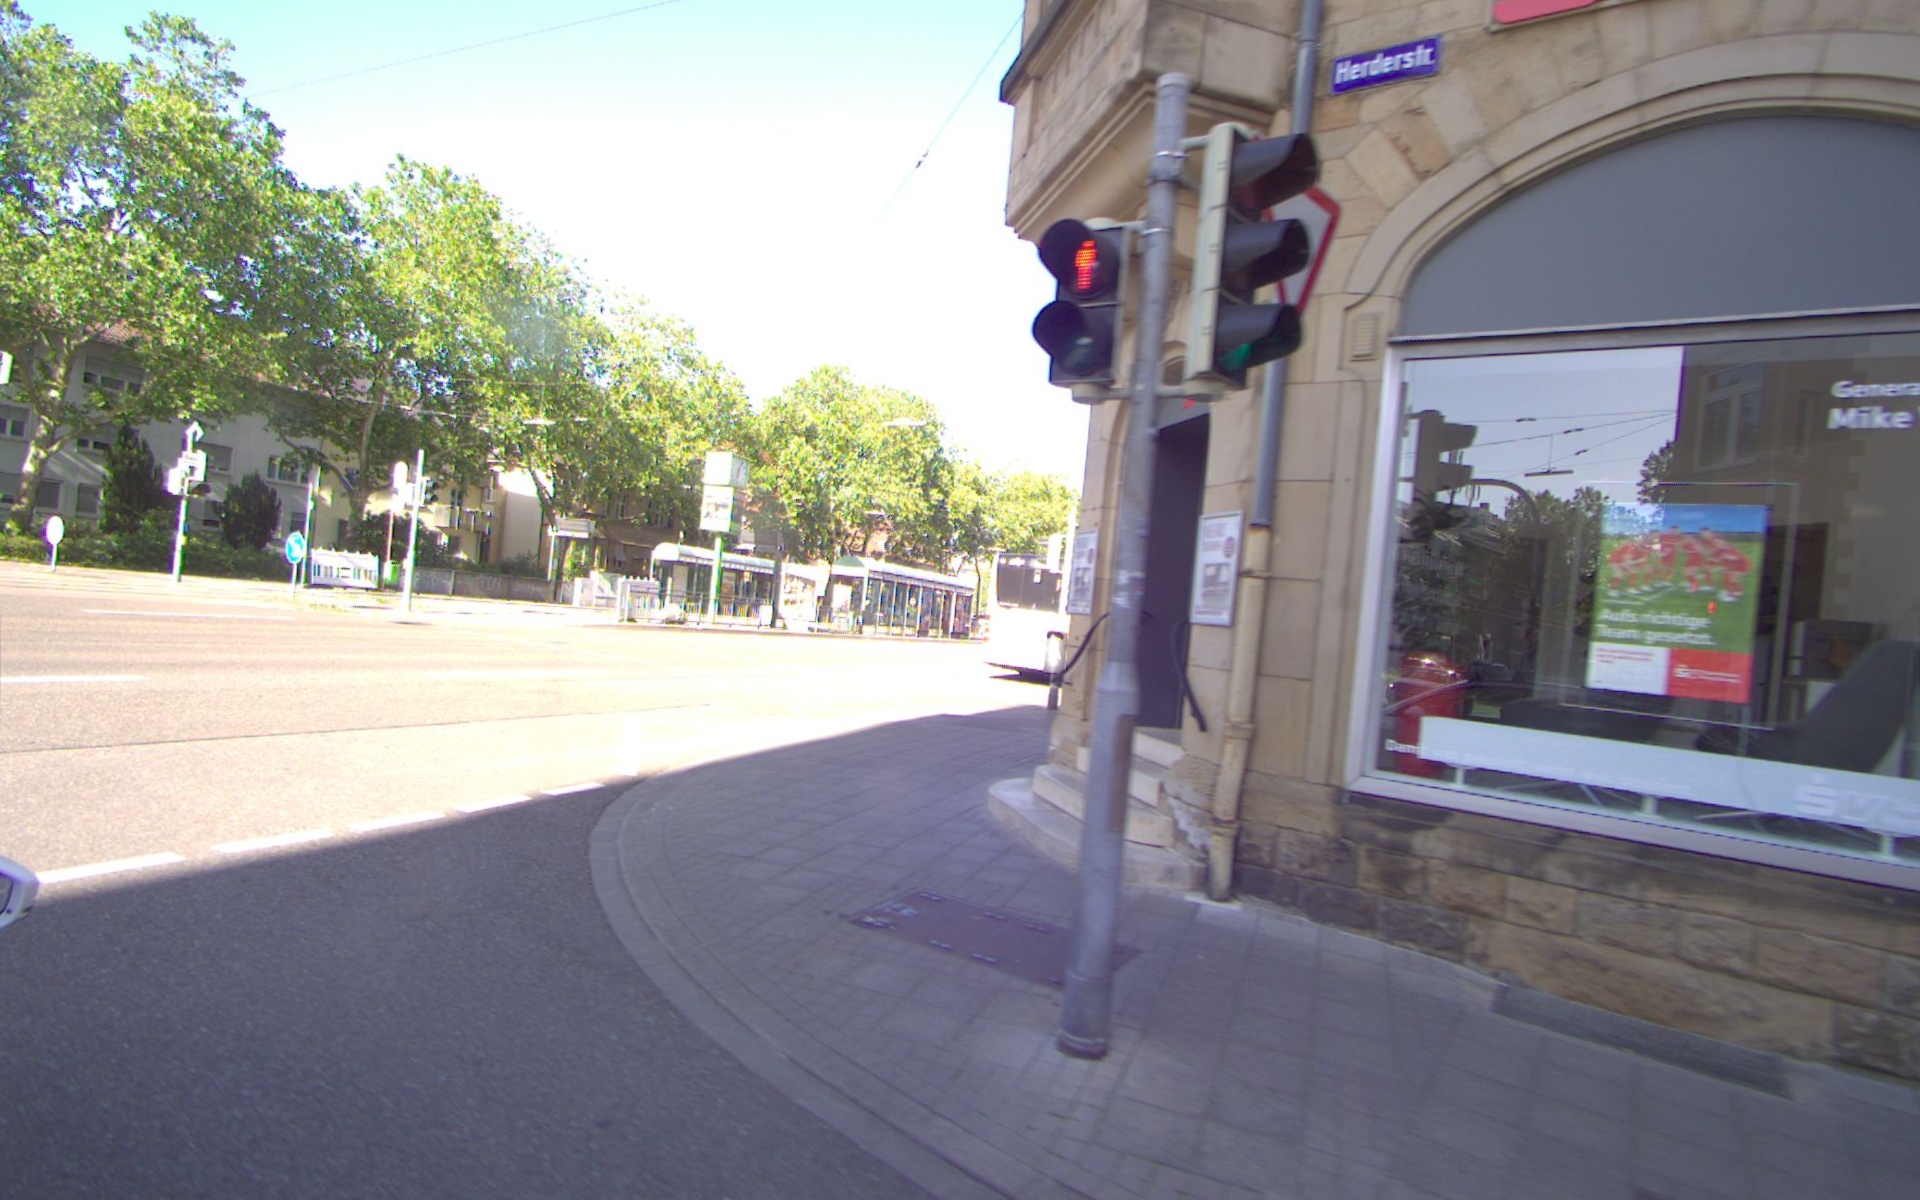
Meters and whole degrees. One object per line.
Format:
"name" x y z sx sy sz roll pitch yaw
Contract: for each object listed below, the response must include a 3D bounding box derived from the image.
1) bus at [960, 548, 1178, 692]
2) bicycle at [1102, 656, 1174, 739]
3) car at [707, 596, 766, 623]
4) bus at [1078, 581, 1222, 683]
"bus" 3.580 0.734 28.691 3.076 3.070 10.681 7 -1 22
"bicycle" 2.393 1.256 13.368 0.507 0.987 1.953 3 -2 21
"car" -16.026 0.709 72.224 1.800 1.425 3.882 6 -3 33
"bus" 7.620 1.354 38.687 3.038 3.053 10.863 7 -1 22
